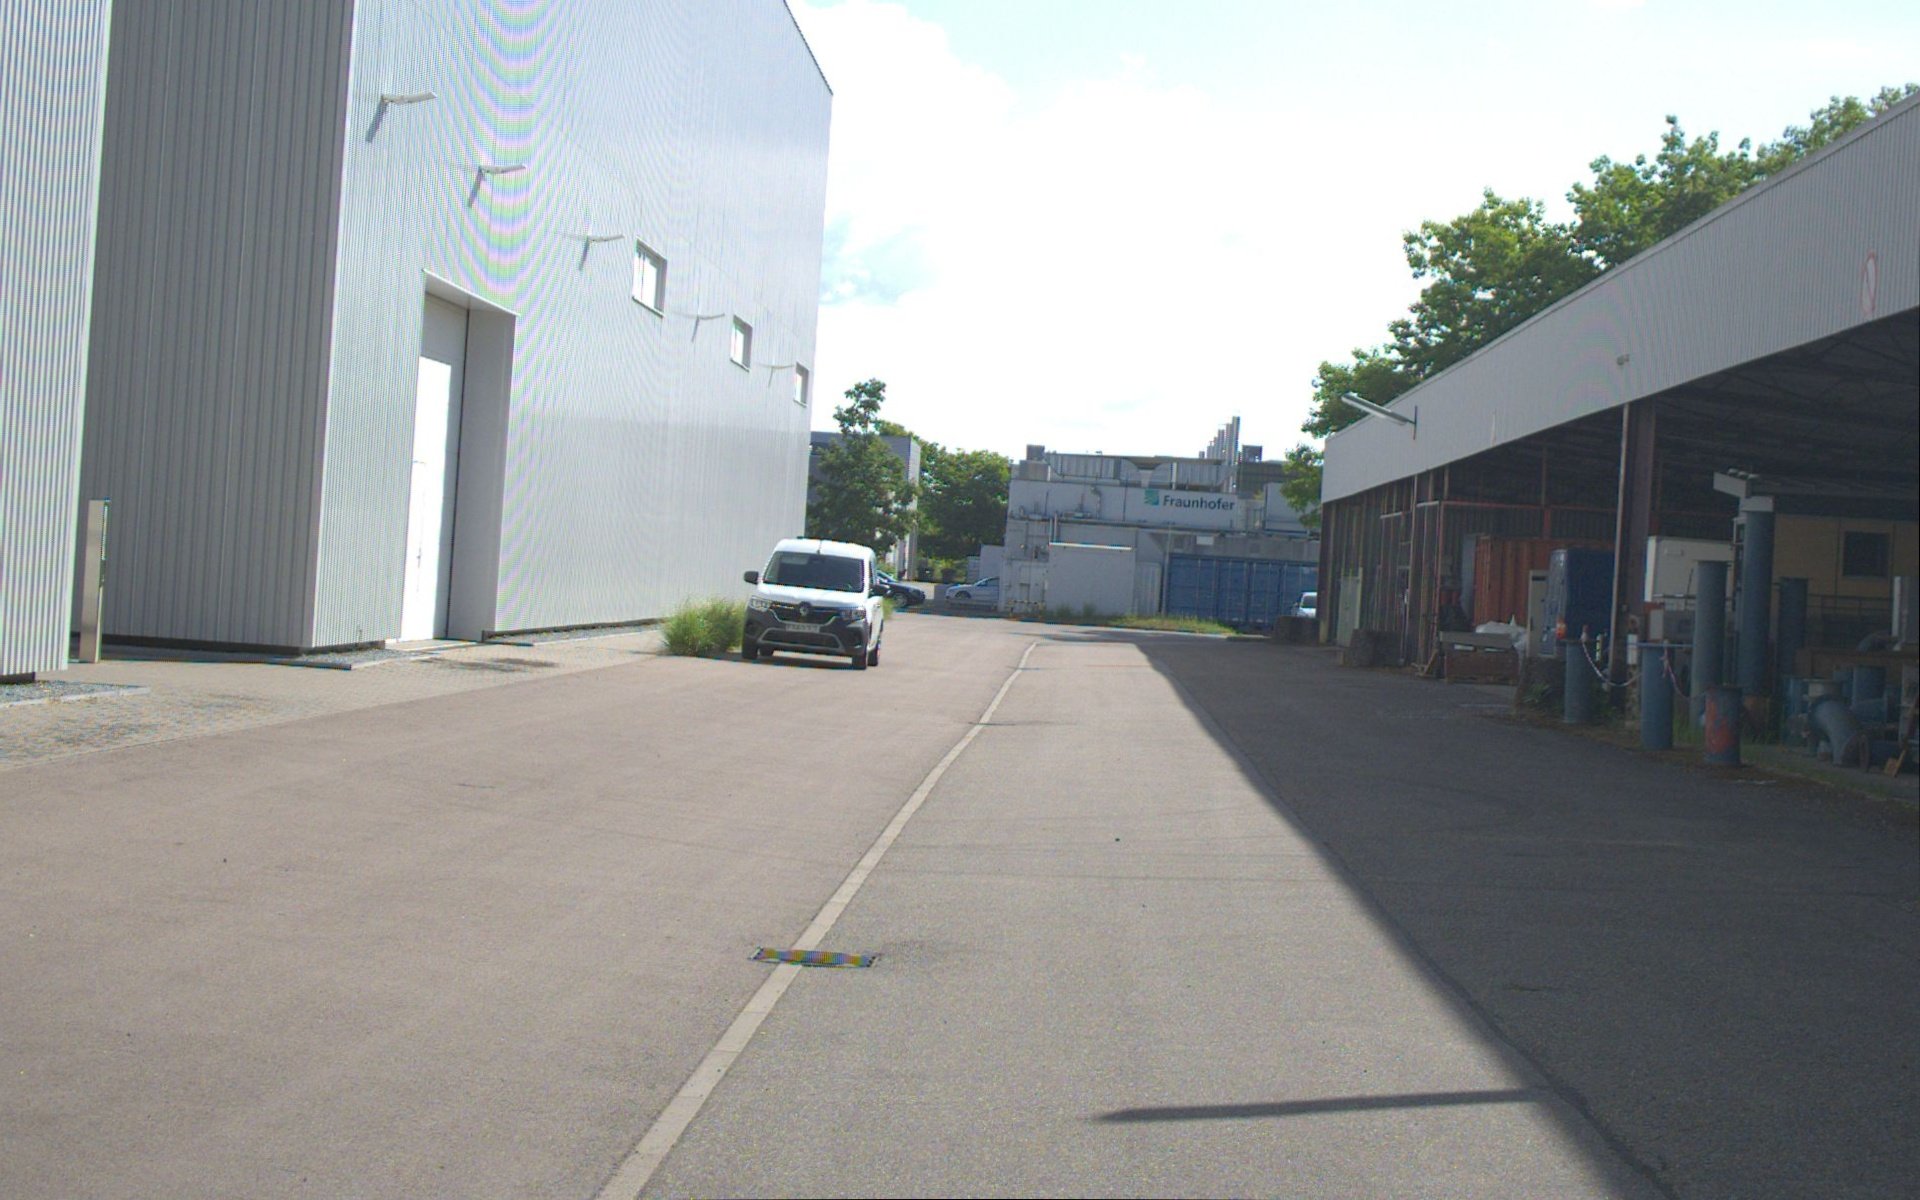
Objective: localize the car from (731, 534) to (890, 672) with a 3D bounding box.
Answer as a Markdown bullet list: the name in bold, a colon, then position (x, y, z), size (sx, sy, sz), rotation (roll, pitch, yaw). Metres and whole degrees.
- **car**: position (-2.139, 0.017, 50.338), size (1.819, 1.781, 4.405), rotation (5, 1, 2)

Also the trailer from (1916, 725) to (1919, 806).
- **trailer**: position (10.164, 1.147, 24.879), size (5.847, 1.129, 2.141), rotation (3, 1, 0)

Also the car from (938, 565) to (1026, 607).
- **car**: position (1.028, -0.643, 160.392), size (3.987, 1.592, 1.848), rotation (5, -1, 1)

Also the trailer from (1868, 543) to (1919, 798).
- **trailer**: position (10.599, 0.697, 28.070), size (5.767, 2.025, 2.077), rotation (3, 1, 3)

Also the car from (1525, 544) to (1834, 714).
- **car**: position (11.479, 0.480, 55.099), size (4.433, 2.302, 1.915), rotation (5, -2, 3)

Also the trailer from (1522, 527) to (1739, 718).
- **trailer**: position (9.023, 0.304, 46.408), size (2.524, 2.390, 1.726), rotation (3, 0, 3)
